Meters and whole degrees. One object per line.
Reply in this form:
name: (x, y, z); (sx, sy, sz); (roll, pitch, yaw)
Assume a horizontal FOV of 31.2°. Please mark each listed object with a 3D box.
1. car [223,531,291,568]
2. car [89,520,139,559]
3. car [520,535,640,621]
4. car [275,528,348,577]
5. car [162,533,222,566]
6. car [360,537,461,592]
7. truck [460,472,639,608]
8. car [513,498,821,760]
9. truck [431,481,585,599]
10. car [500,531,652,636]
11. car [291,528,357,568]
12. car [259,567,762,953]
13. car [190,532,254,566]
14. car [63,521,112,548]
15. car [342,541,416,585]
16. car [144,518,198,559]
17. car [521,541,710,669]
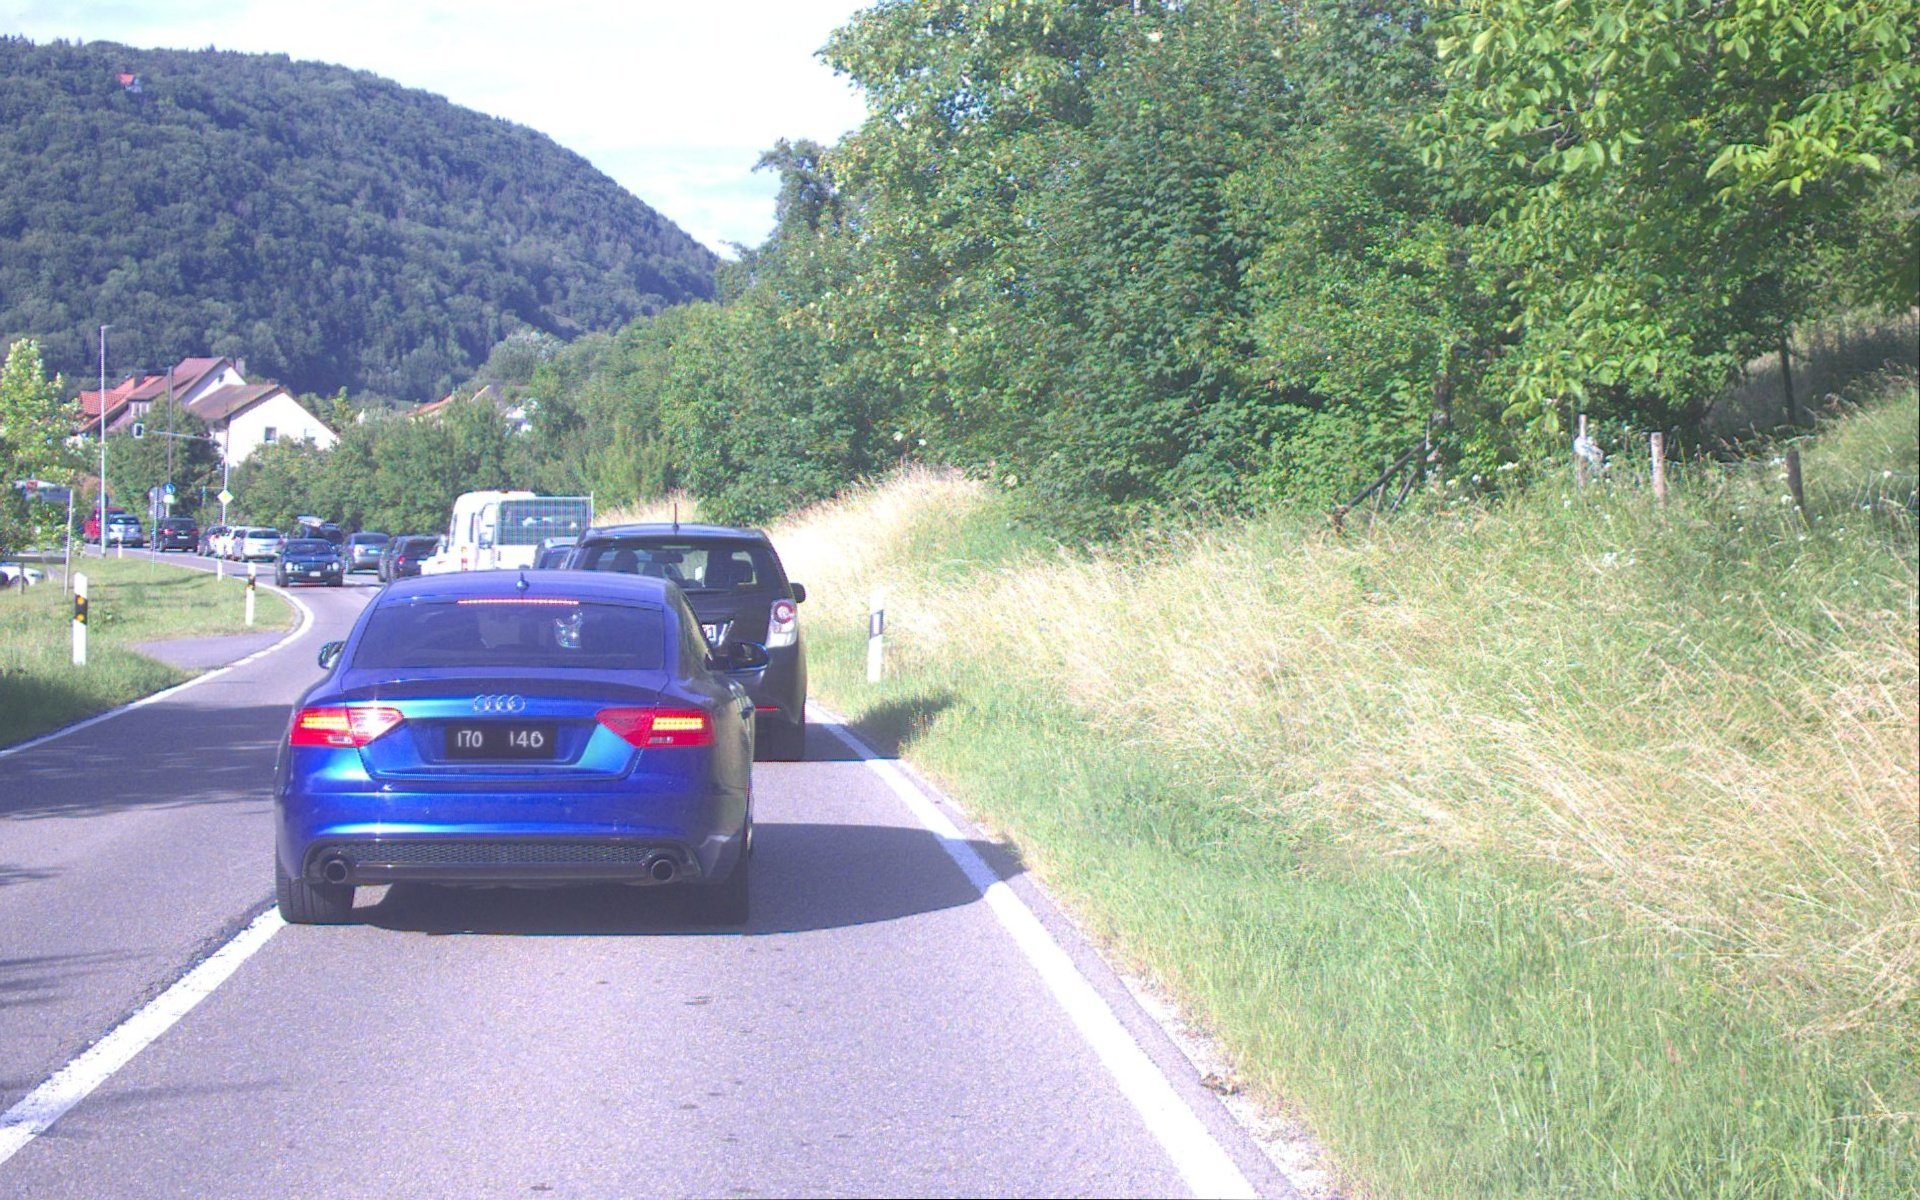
car: (-29.496, -2.119, 144.233); (1.993, 1.477, 4.001); (0, 1, -23)
car: (-44.509, -3.164, 180.786); (1.993, 2.007, 4.001); (0, 1, -22)
car: (-6.908, -0.402, 62.237); (1.993, 1.477, 4.001); (1, 1, -8)
car: (-18.617, -1.361, 98.753); (1.993, 1.371, 4.001); (1, 1, -10)
car: (-35.449, -2.345, 158.643); (1.993, 1.477, 4.001); (0, 1, -23)
car: (-15.445, -1.003, 96.494); (1.993, 1.477, 4.001); (0, 1, -21)
truck: (-8.890, -1.285, 73.413); (2.863, 2.656, 10.396); (1, 1, -12)
car: (-2.029, 0.171, 24.518); (1.993, 1.696, 4.001); (1, 1, -3)
truck: (-11.131, -1.469, 83.823); (2.863, 2.656, 10.648); (1, 1, -12)
car: (-5.739, -0.249, 50.991); (1.993, 1.477, 4.001); (1, 1, -10)
car: (-24.307, -1.970, 131.237); (1.993, 1.477, 4.001); (0, 1, -17)
car: (-1.737, 0.554, 14.368); (1.793, 1.355, 4.001); (0, 1, -4)
car: (-32.344, -2.227, 150.563); (1.993, 1.477, 4.001); (0, 1, -23)
car: (-48.081, -3.610, 189.433); (1.993, 1.477, 4.001); (0, 1, -23)
car: (-20.244, -1.304, 119.714); (1.993, 1.477, 4.001); (0, 1, -17)
car: (-39.095, -3.044, 170.315); (1.993, 2.007, 4.001); (0, 1, -22)
car: (-4.027, 0.035, 39.679); (1.993, 1.382, 4.001); (1, 1, -8)
